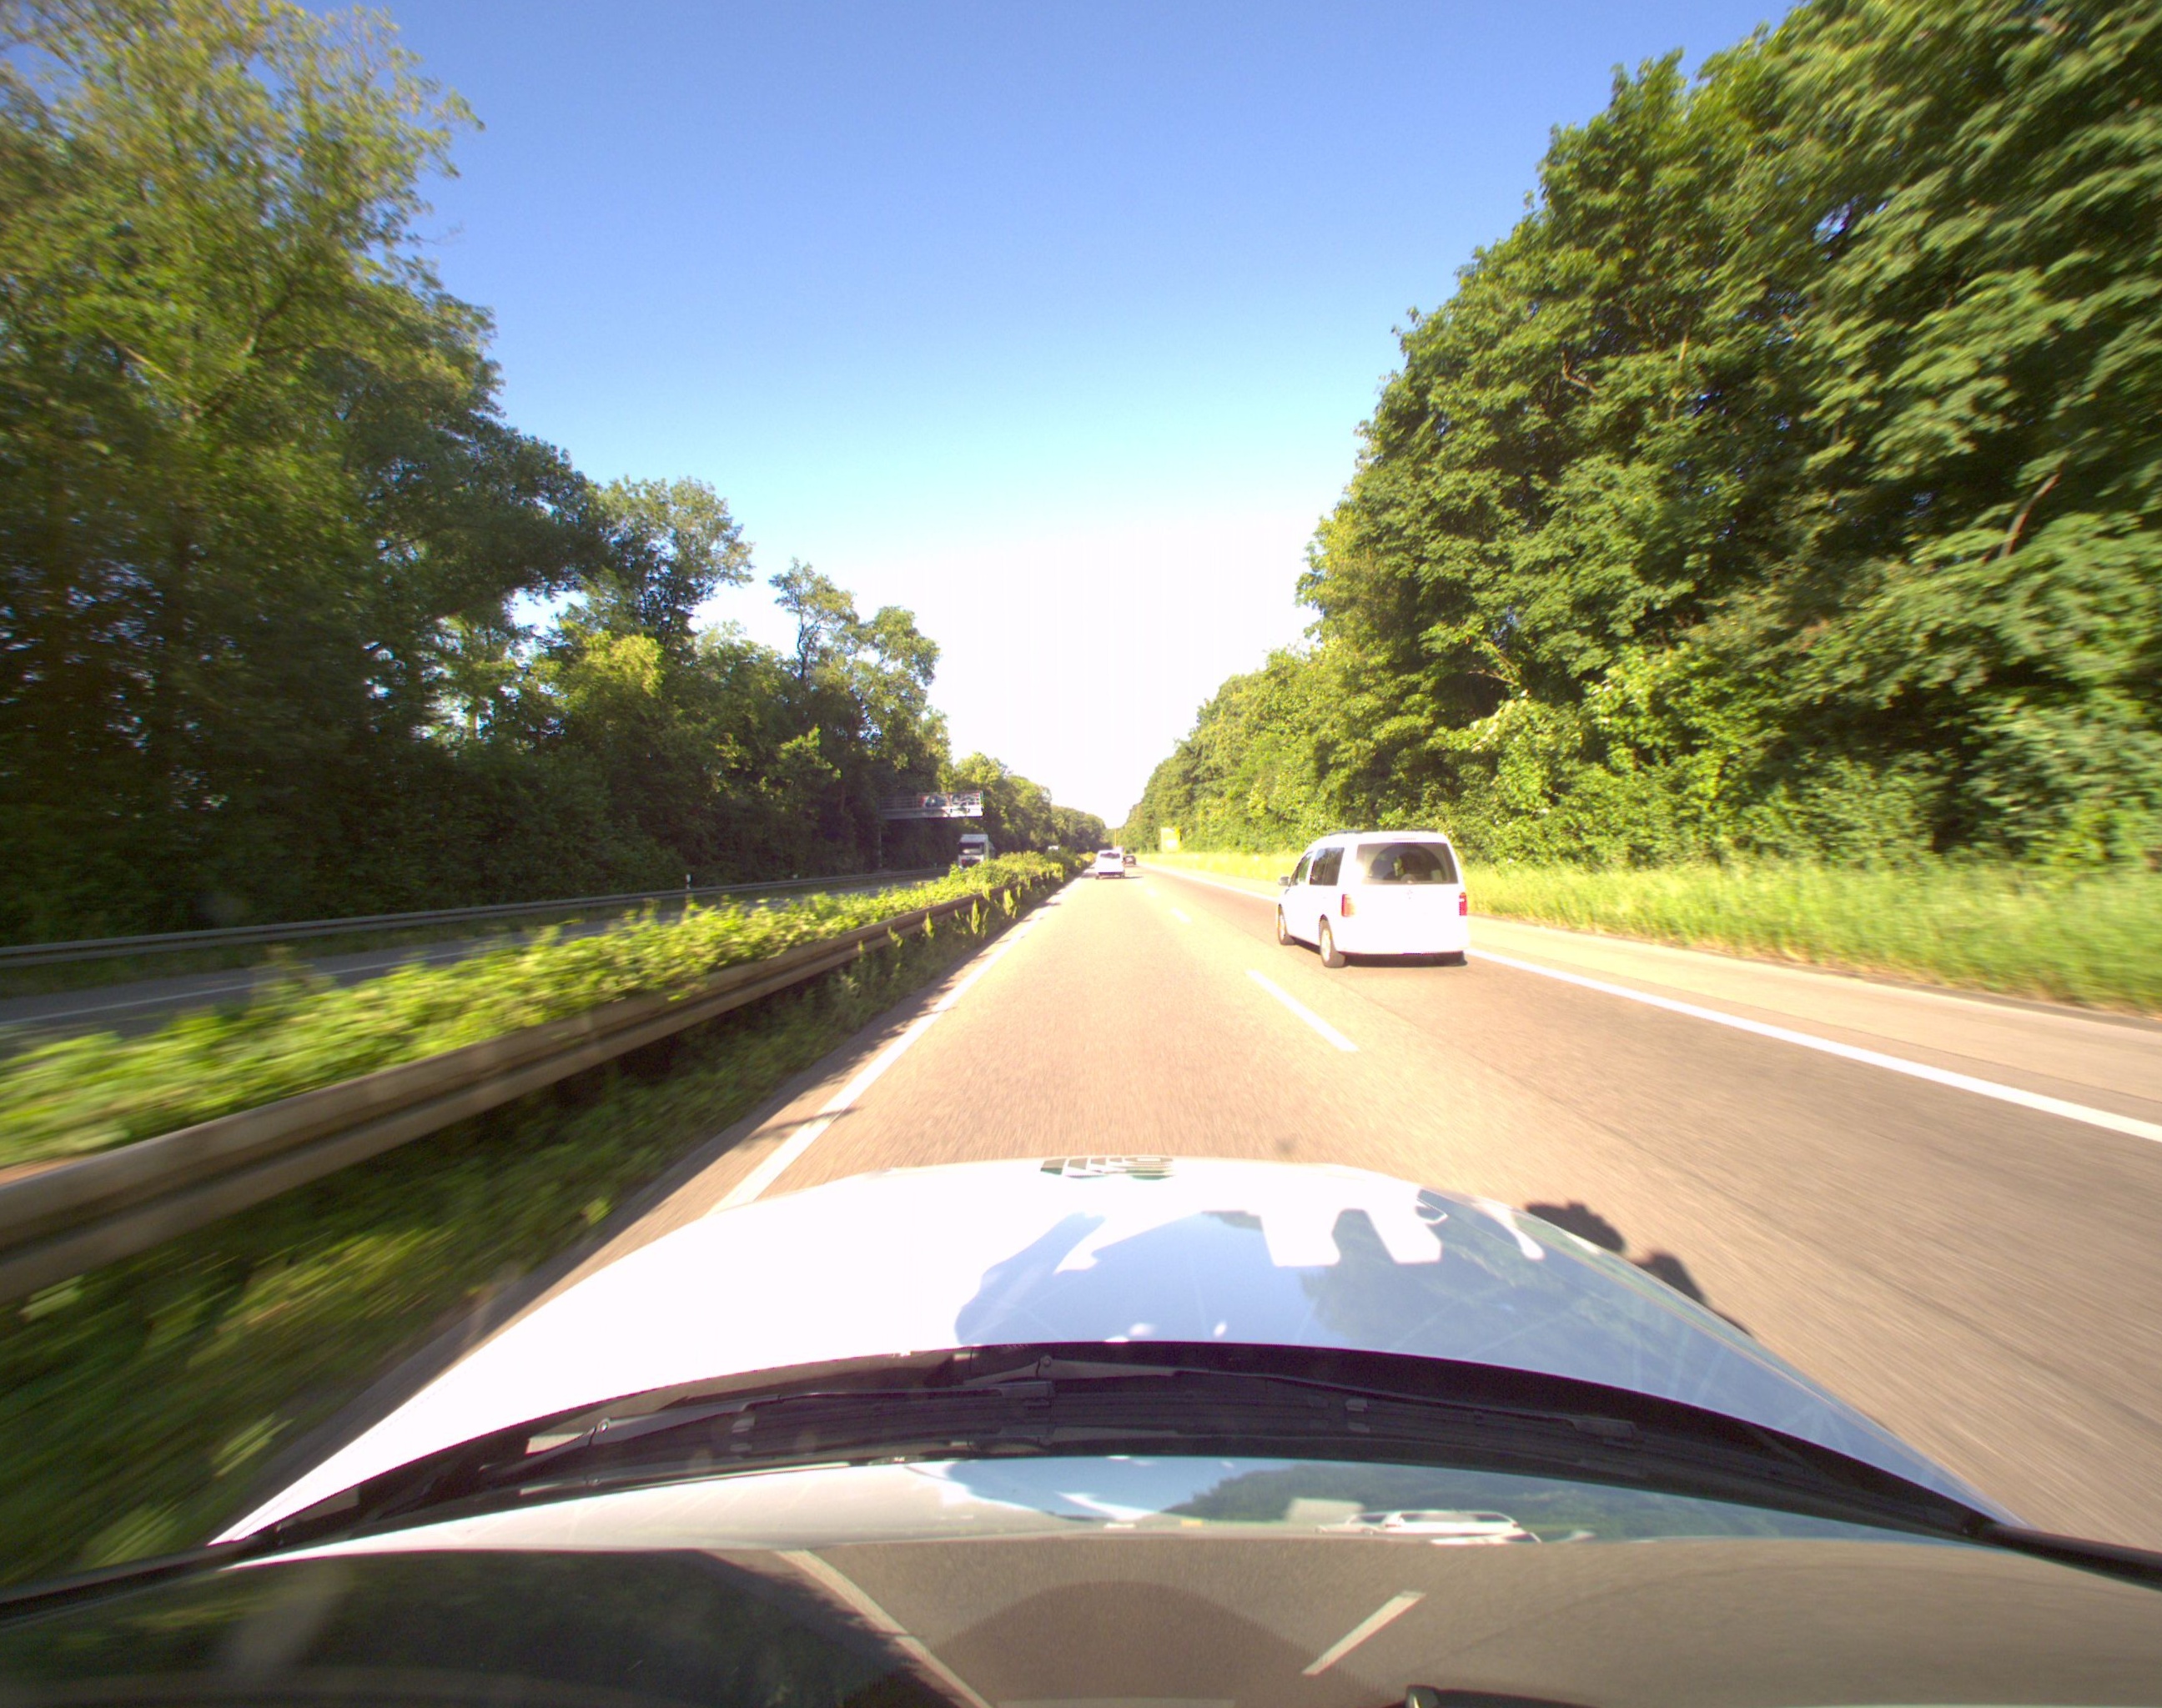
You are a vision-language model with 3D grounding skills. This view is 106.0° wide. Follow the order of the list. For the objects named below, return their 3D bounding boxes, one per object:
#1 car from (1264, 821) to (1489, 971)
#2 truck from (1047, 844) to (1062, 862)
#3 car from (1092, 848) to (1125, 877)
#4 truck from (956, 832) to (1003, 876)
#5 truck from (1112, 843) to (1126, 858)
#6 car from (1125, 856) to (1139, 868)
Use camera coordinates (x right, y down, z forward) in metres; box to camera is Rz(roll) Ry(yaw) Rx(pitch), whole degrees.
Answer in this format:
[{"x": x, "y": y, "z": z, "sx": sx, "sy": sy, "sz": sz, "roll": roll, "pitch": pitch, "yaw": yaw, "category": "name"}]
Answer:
[{"x": 4.124, "y": 0.523, "z": 12.231, "sx": 1.792, "sy": 1.813, "sz": 4.588, "roll": -1, "pitch": 0, "yaw": 1, "category": "car"}, {"x": -6.308, "y": -0.239, "z": 195.891, "sx": 3.216, "sy": 4.013, "sz": 5.678, "roll": -1, "pitch": 0, "yaw": 1, "category": "truck"}, {"x": 1.725, "y": 0.532, "z": 51.822, "sx": 1.944, "sy": 1.782, "sz": 4.588, "roll": -1, "pitch": 0, "yaw": 1, "category": "car"}, {"x": -9.656, "y": 0.031, "z": 78.768, "sx": 2.759, "sy": 3.955, "sz": 11.472, "roll": -1, "pitch": 0, "yaw": 2, "category": "truck"}, {"x": 10.896, "y": -0.908, "z": 233.929, "sx": 3.720, "sy": 4.343, "sz": 9.308, "roll": -1, "pitch": 0, "yaw": 2, "category": "truck"}, {"x": 7.621, "y": 1.200, "z": 122.372, "sx": 1.944, "sy": 1.782, "sz": 4.588, "roll": -1, "pitch": 0, "yaw": 1, "category": "car"}]
